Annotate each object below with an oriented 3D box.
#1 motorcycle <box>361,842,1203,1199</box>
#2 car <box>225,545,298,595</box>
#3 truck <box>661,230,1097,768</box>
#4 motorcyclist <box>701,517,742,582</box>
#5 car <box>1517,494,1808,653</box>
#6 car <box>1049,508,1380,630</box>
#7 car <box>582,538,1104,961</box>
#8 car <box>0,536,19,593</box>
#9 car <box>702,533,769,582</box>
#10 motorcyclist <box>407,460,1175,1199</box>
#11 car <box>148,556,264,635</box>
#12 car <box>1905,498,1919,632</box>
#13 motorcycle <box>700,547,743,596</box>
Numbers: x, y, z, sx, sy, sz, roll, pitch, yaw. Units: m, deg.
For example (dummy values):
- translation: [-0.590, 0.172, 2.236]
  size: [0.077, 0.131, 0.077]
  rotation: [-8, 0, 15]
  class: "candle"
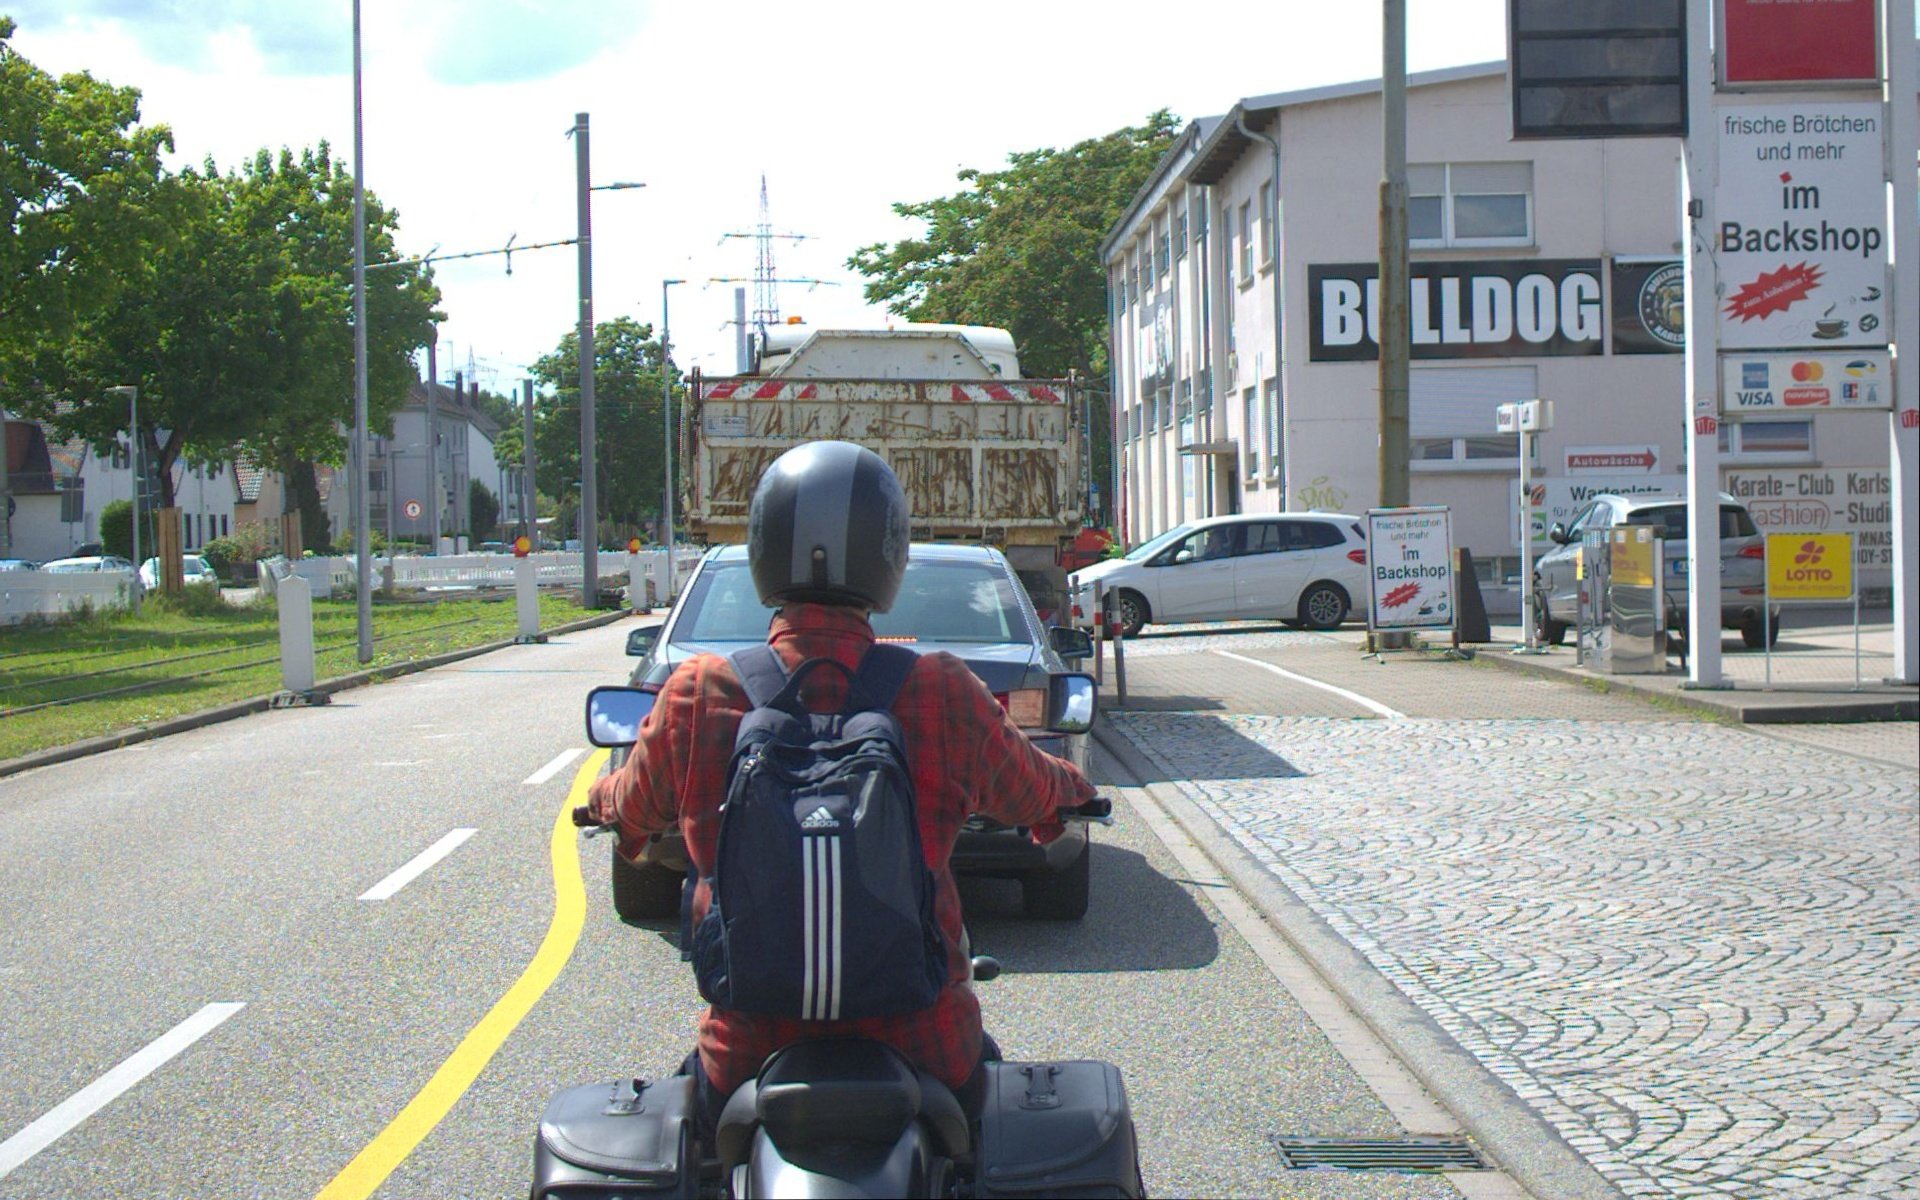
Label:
- translation: [-0.214, 0.956, 5.341]
  size: [0.979, 0.894, 2.653]
  rotation: [-1, 1, -1]
  class: "motorcycle"
- translation: [-25.418, -1.105, 125.245]
  size: [1.776, 1.717, 4.128]
  rotation: [-1, 1, 0]
  class: "car"
- translation: [-0.544, -0.716, 25.366]
  size: [2.638, 3.285, 8.057]
  rotation: [-1, 1, -1]
  class: "truck"
- translation: [-5.180, -1.099, 74.722]
  size: [0.868, 1.373, 0.800]
  rotation: [-1, 1, -3]
  class: "motorcyclist"
- translation: [7.378, -0.308, 36.523]
  size: [1.667, 1.557, 4.245]
  rotation: [-1, 1, -8]
  class: "car"
- translation: [3.456, -0.438, 47.066]
  size: [4.229, 1.537, 1.673]
  rotation: [-1, 1, -8]
  class: "car"
- translation: [-0.437, 0.494, 14.149]
  size: [1.823, 1.447, 4.000]
  rotation: [1, 1, -1]
  class: "car"
- translation: [-30.044, -1.065, 104.409]
  size: [1.776, 1.717, 4.128]
  rotation: [-1, 1, 0]
  class: "car"
- translation: [-7.080, -1.350, 108.732]
  size: [1.823, 1.447, 4.324]
  rotation: [-2, 1, -1]
  class: "car"
- translation: [-0.218, 0.614, 5.030]
  size: [0.979, 1.597, 1.088]
  rotation: [-1, 1, -1]
  class: "motorcyclist"
- translation: [-17.497, -0.134, 79.963]
  size: [1.776, 1.717, 4.128]
  rotation: [-1, 1, 0]
  class: "car"
- translation: [11.733, -0.383, 37.093]
  size: [1.806, 1.498, 3.834]
  rotation: [-1, 1, -3]
  class: "car"
- translation: [-5.181, -0.636, 74.796]
  size: [0.868, 1.017, 2.245]
  rotation: [-1, 1, -3]
  class: "motorcycle"
